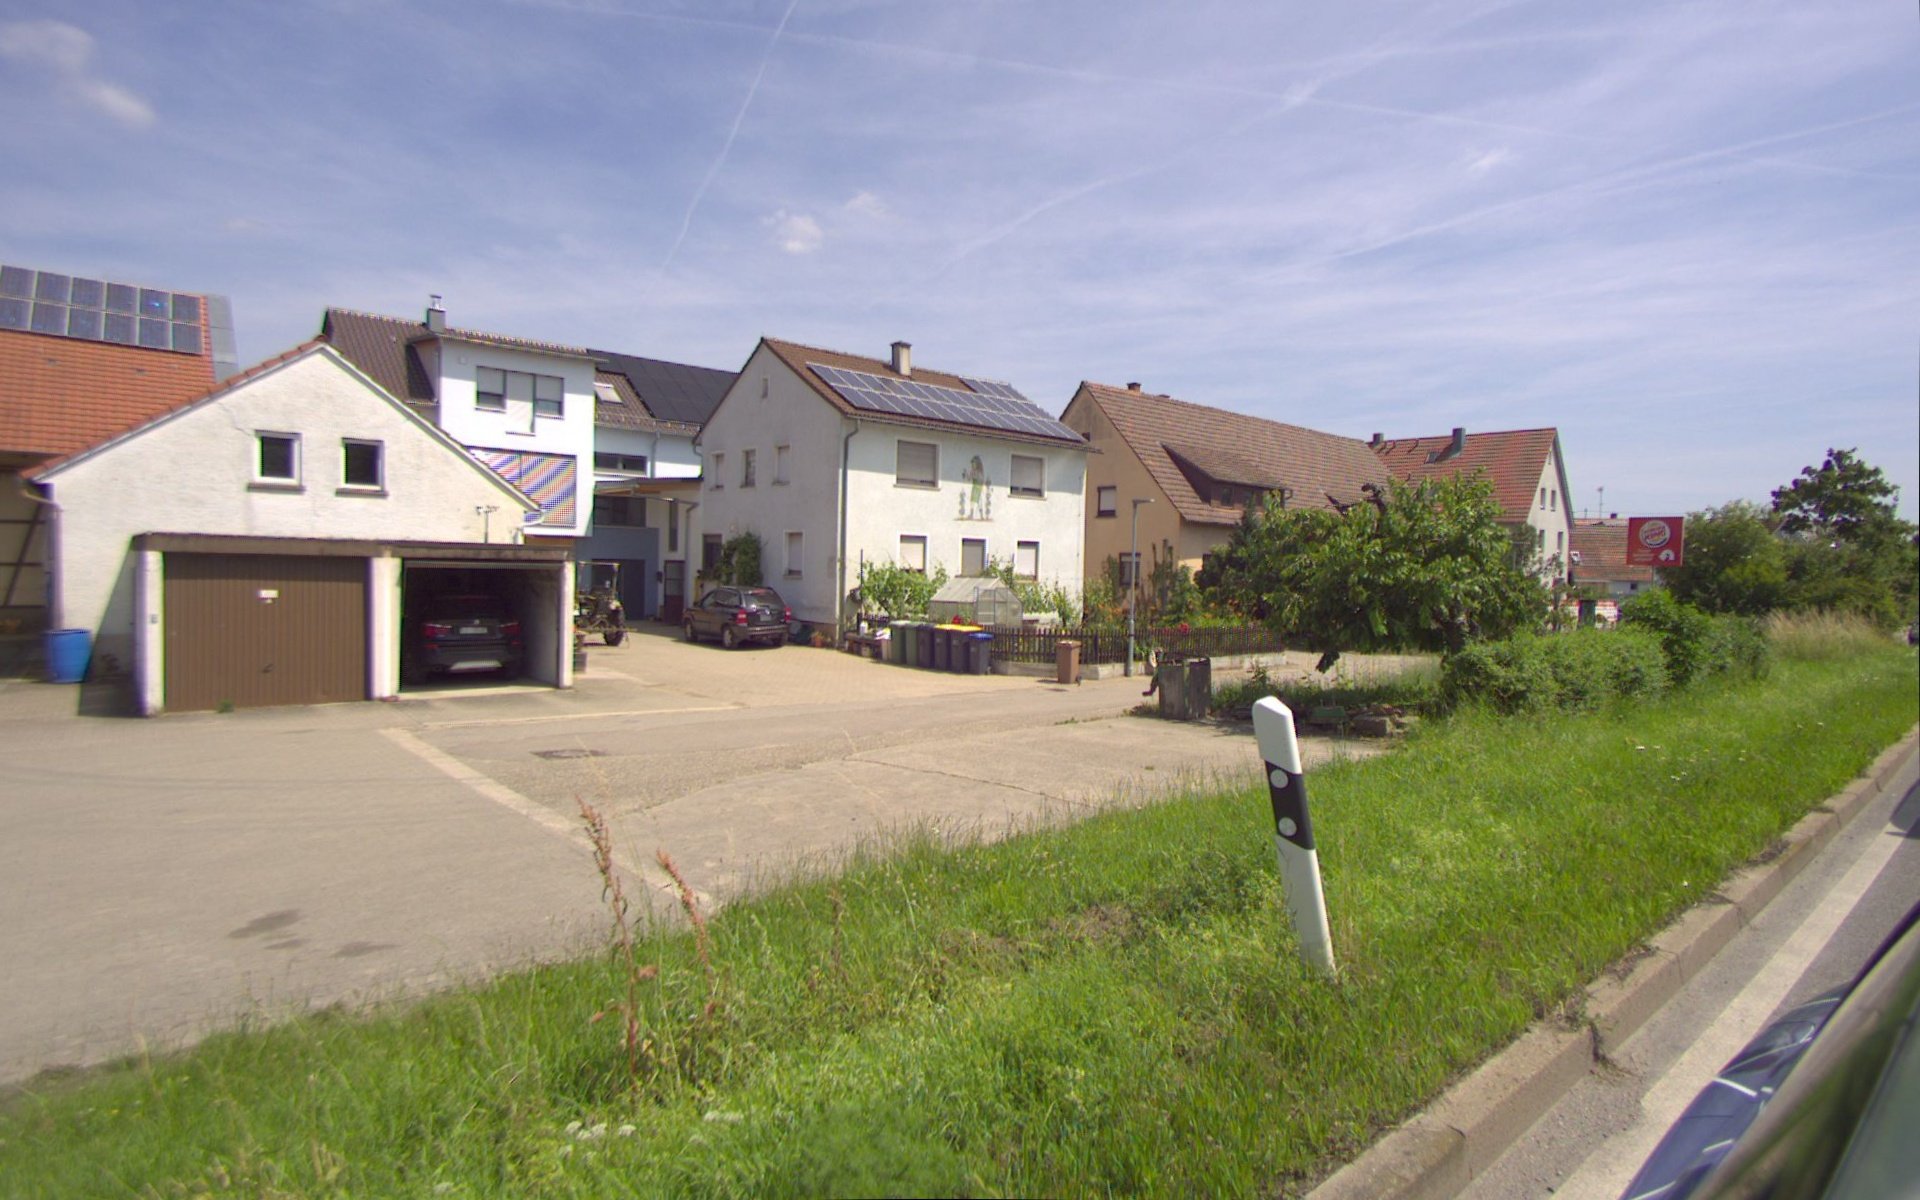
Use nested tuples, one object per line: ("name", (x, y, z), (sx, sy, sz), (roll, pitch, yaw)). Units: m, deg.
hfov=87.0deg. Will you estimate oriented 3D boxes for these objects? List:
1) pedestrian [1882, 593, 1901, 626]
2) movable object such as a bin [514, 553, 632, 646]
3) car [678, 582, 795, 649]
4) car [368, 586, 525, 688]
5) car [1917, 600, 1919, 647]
("pedestrian", (44.281, 0.455, 48.101), (0.517, 1.568, 0.557), (1, 1, 30))
("movable object such as a bin", (-10.799, -0.059, 28.106), (2.041, 2.372, 3.719), (2, 1, -38))
("car", (-6.556, 0.376, 29.459), (1.810, 1.714, 3.959), (-1, 3, -38))
("car", (-9.732, 0.592, 19.041), (1.802, 1.597, 3.996), (-1, 2, -40))
("car", (32.783, 0.729, 33.288), (3.492, 1.504, 1.633), (0, -2, -43))
